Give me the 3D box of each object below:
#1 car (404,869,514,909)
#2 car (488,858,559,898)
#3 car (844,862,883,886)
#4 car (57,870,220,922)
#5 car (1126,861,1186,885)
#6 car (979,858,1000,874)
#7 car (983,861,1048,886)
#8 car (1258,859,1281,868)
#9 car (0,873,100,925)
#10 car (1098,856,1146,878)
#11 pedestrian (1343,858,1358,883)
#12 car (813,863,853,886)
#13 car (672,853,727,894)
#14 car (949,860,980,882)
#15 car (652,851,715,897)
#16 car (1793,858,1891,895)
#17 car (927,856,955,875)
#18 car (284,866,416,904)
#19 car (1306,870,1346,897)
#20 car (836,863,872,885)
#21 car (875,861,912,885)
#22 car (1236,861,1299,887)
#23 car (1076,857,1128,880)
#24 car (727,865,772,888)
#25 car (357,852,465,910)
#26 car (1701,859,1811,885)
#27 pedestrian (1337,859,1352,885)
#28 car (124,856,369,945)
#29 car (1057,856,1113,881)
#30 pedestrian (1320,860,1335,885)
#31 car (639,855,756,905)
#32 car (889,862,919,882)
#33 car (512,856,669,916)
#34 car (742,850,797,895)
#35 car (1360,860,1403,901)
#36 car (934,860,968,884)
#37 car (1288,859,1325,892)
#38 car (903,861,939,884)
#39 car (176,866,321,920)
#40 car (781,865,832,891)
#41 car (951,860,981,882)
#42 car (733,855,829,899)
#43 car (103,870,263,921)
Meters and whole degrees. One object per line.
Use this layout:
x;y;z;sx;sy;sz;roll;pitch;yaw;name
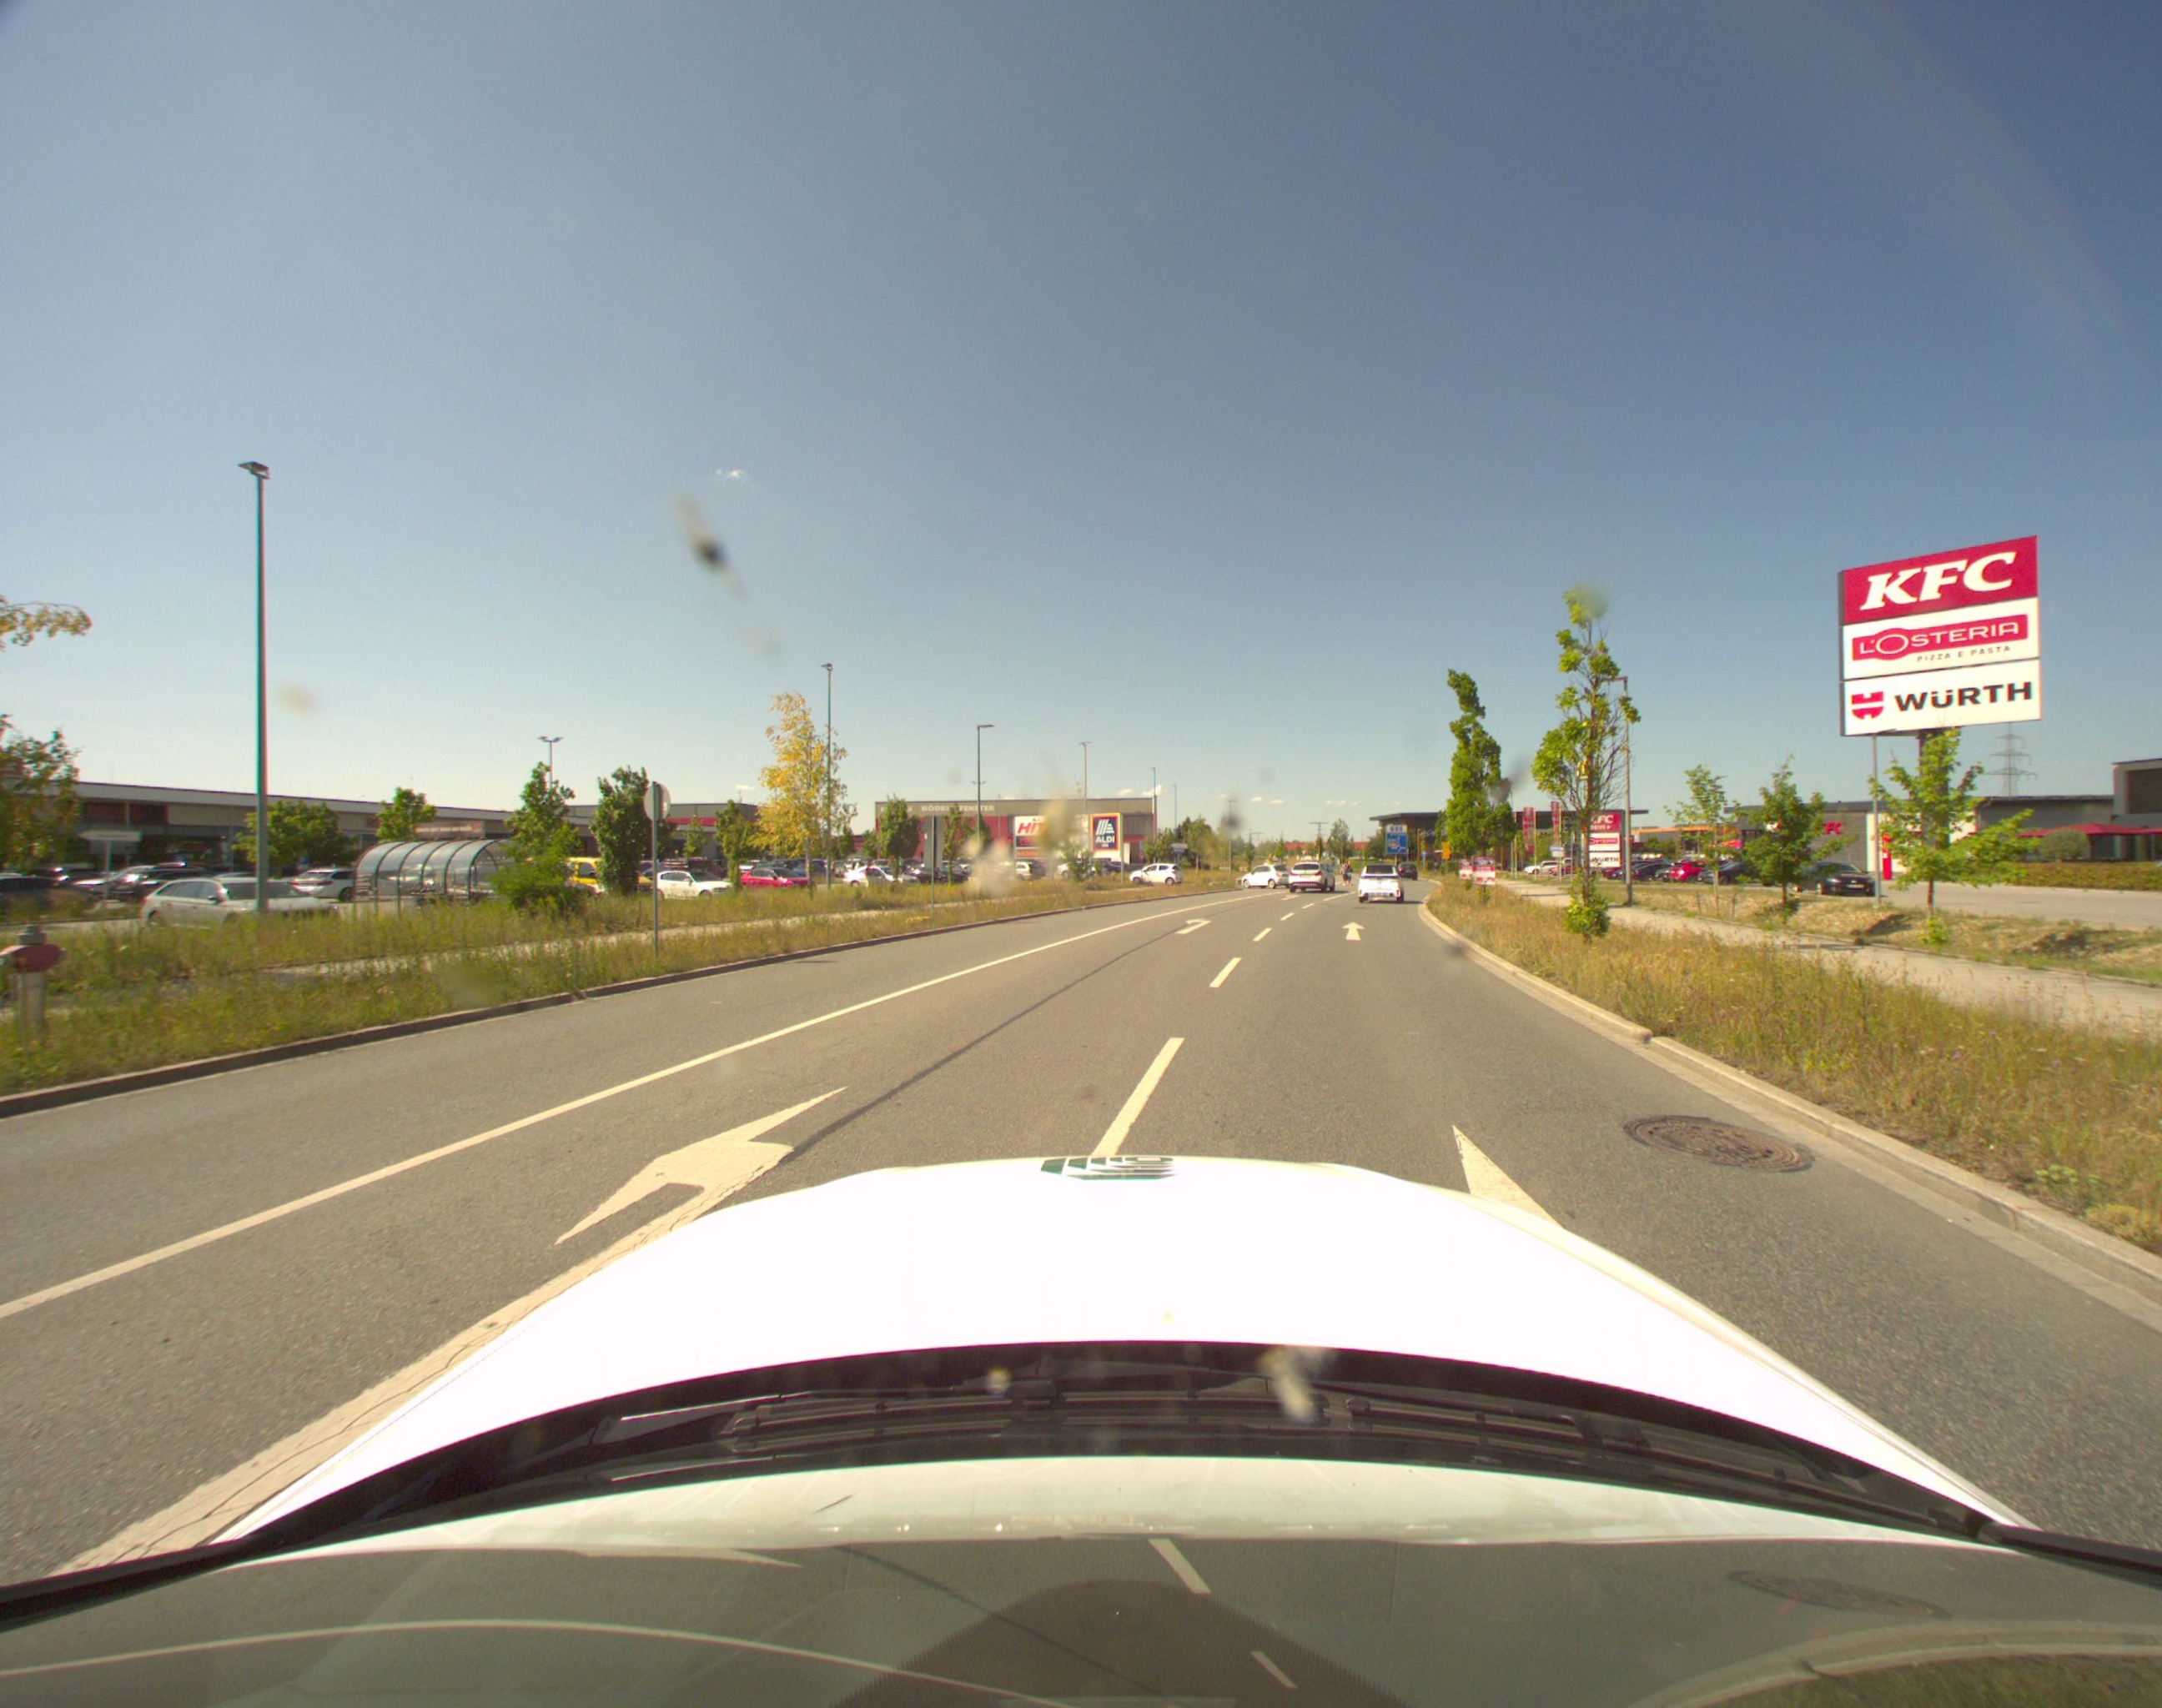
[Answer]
-32.042;1.742;42.128;1.985;1.863;4.489;-1;-1;4;car
-41.869;1.753;61.314;1.985;2.821;4.489;-1;-1;4;car
-19.710;1.782;74.078;1.985;2.038;4.489;-1;-1;4;car
-42.930;1.855;37.286;1.982;2.123;4.495;-1;-1;8;car
5.126;1.270;55.634;3.737;1.551;1.751;-2;-1;23;car
-12.419;1.624;110.390;1.985;2.038;4.489;-1;-1;4;car
-4.853;1.446;60.393;4.427;1.715;2.012;-2;-1;31;car
37.283;1.877;161.248;4.002;1.728;1.986;-1;0;-22;car
-32.742;1.366;24.338;1.859;1.508;4.006;-1;-1;5;car
4.129;1.319;81.319;4.436;2.038;2.008;-1;-1;15;car
18.044;1.128;54.608;0.715;1.664;0.658;0;-1;-40;pedestrian
-22.490;1.845;74.018;1.985;2.038;4.489;-1;-1;4;car
-28.030;1.422;60.014;1.988;2.821;4.481;-1;-1;-2;car
-11.343;1.653;79.537;1.985;2.038;4.489;-1;-1;4;car
-25.978;1.300;53.427;1.988;2.821;4.481;-1;-1;-2;car
32.695;0.936;35.143;1.855;1.465;4.389;-1;-1;25;car
-15.673;1.228;91.357;1.985;2.038;4.489;-1;-1;4;car
-32.254;1.343;36.104;1.642;1.520;4.357;-1;-1;6;car
15.399;1.832;51.044;1.719;1.551;3.806;-2;-1;27;car
-22.162;1.901;79.605;1.985;2.038;4.489;-1;-1;4;car
-17.081;1.725;74.333;1.985;2.038;4.489;-1;-1;4;car
11.642;1.267;51.086;1.747;1.551;3.745;-1;-1;-31;car
1.953;1.310;76.120;4.436;2.038;2.008;-1;-1;15;car
-30.041;2.018;73.992;1.985;2.038;4.489;-1;-1;4;car
-34.829;1.379;42.512;1.988;2.821;4.481;-1;-1;-2;car
39.168;1.073;47.395;4.482;1.459;2.010;-1;-1;19;car
17.477;1.187;54.099;0.715;1.664;0.658;0;-1;-40;pedestrian
-20.667;1.084;20.207;5.059;2.014;2.174;-1;0;17;car
0.369;1.292;71.337;4.436;2.038;2.008;-1;-1;15;car
16.474;1.211;54.442;0.715;1.664;0.658;0;-1;-40;pedestrian
-16.211;1.078;34.451;4.359;2.014;1.954;-1;-1;20;car
-19.134;1.928;88.109;1.985;2.038;4.489;-1;-1;4;car
-17.830;1.126;29.617;5.056;2.014;2.175;-1;0;20;car
-20.500;1.179;53.817;1.988;2.821;4.481;-1;-1;-2;car
11.610;0.981;31.391;1.462;1.490;3.017;0;0;22;car
-11.656;1.591;73.476;1.985;2.038;4.489;-1;-1;4;car
11.548;1.051;41.529;1.722;1.551;4.590;-2;-1;17;car
-14.447;1.658;73.722;1.985;2.038;4.489;-1;-1;4;car
-37.191;1.682;36.580;1.988;2.191;4.481;-1;-1;-2;car
-20.165;1.761;60.060;1.985;1.784;4.320;-1;-1;4;car
-11.214;1.650;79.545;1.985;2.038;4.489;-1;-1;4;car
-14.359;1.092;39.024;4.089;2.014;1.893;-1;-1;22;car
-40.274;1.798;36.712;1.982;2.103;4.495;-1;-1;8;car
